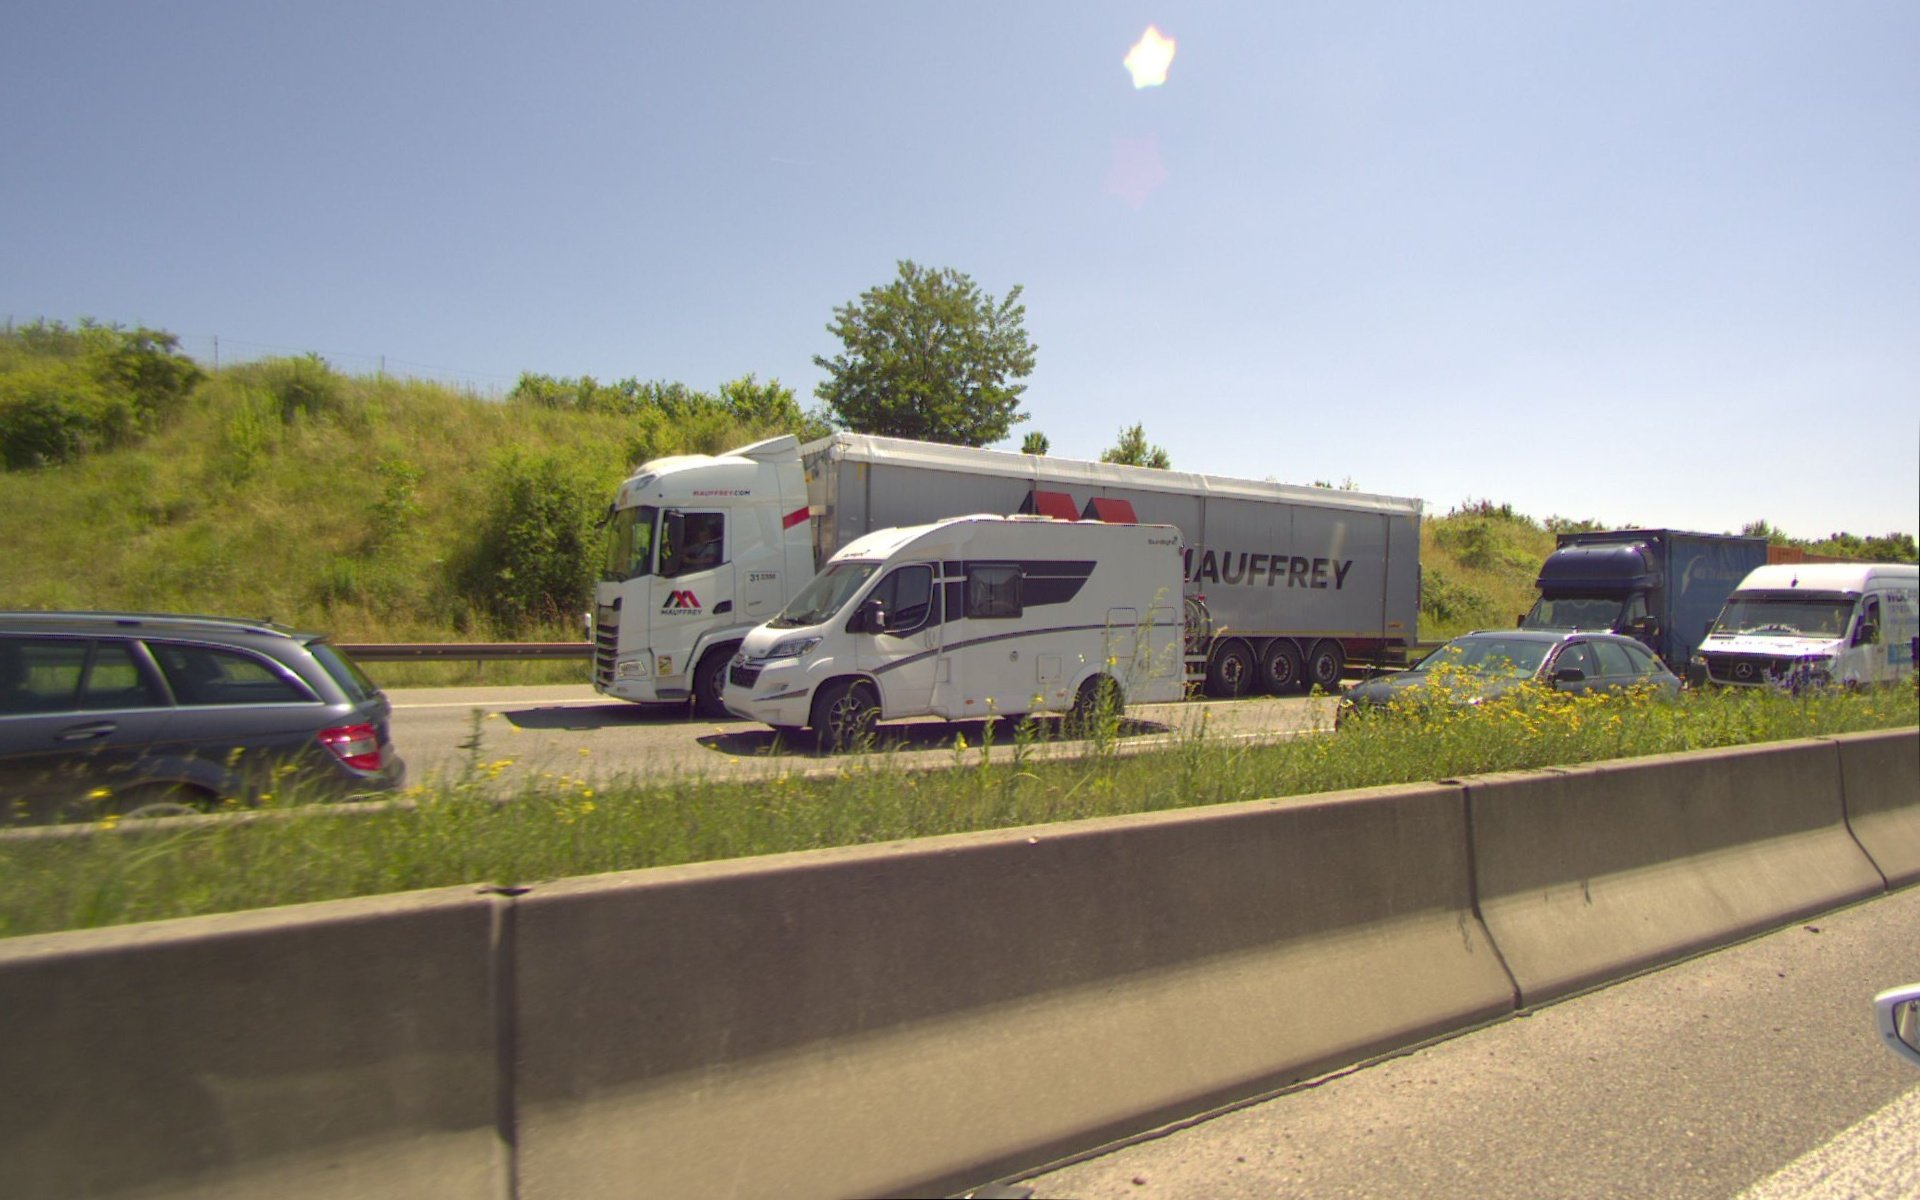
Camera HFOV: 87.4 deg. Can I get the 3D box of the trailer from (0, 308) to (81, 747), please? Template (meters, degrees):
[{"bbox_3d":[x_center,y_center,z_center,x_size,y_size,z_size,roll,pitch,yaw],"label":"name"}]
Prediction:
[{"bbox_3d":[-14.637,-0.835,8.278,10.666,4.297,2.776,2,0,-30],"label":"trailer"}]

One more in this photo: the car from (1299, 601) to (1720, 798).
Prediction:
[{"bbox_3d":[6.148,0.962,11.073,4.877,1.753,1.803,2,0,-30],"label":"car"}]

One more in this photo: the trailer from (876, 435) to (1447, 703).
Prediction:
[{"bbox_3d":[4.458,-0.335,19.602,12.108,4.087,2.767,2,0,-31],"label":"trailer"}]

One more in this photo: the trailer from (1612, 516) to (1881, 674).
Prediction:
[{"bbox_3d":[25.299,0.001,31.988,11.862,4.368,2.599,2,0,-31],"label":"trailer"}]

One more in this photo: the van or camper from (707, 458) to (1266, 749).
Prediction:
[{"bbox_3d":[0.585,0.112,12.985,7.139,2.962,2.140,2,0,-30],"label":"van or camper"}]

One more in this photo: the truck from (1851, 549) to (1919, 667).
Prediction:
[{"bbox_3d":[37.766,0.344,39.382,5.598,4.383,2.509,2,0,-30],"label":"truck"}]

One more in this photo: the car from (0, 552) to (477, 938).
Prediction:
[{"bbox_3d":[-5.237,0.634,5.072,4.914,1.753,1.803,2,0,-30],"label":"car"}]

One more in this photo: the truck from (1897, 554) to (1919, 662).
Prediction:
[{"bbox_3d":[44.384,0.485,43.241,12.277,4.383,2.508,2,0,-31],"label":"truck"}]

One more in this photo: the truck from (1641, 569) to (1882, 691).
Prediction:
[{"bbox_3d":[18.980,0.726,23.653,6.783,2.539,2.223,2,-1,-31],"label":"truck"}]

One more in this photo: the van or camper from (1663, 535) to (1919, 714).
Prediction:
[{"bbox_3d":[14.679,0.439,16.997,6.343,2.574,2.182,2,-1,-31],"label":"van or camper"}]

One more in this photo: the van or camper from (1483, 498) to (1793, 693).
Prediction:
[{"bbox_3d":[14.117,0.024,20.688,7.591,3.435,2.301,2,-1,-31],"label":"van or camper"}]

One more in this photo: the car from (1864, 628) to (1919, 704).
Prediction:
[{"bbox_3d":[20.076,1.301,19.997,4.380,1.427,1.892,2,-1,-31],"label":"car"}]

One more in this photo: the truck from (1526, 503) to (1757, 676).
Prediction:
[{"bbox_3d":[19.325,-0.190,28.372,7.210,4.383,2.576,2,0,-31],"label":"truck"}]

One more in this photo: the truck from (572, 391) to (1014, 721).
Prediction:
[{"bbox_3d":[-2.505,-0.494,15.460,6.069,4.182,2.787,2,0,-30],"label":"truck"}]

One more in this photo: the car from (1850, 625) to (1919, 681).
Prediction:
[{"bbox_3d":[27.494,1.502,28.865,4.066,1.485,1.723,2,-1,-31],"label":"car"}]
